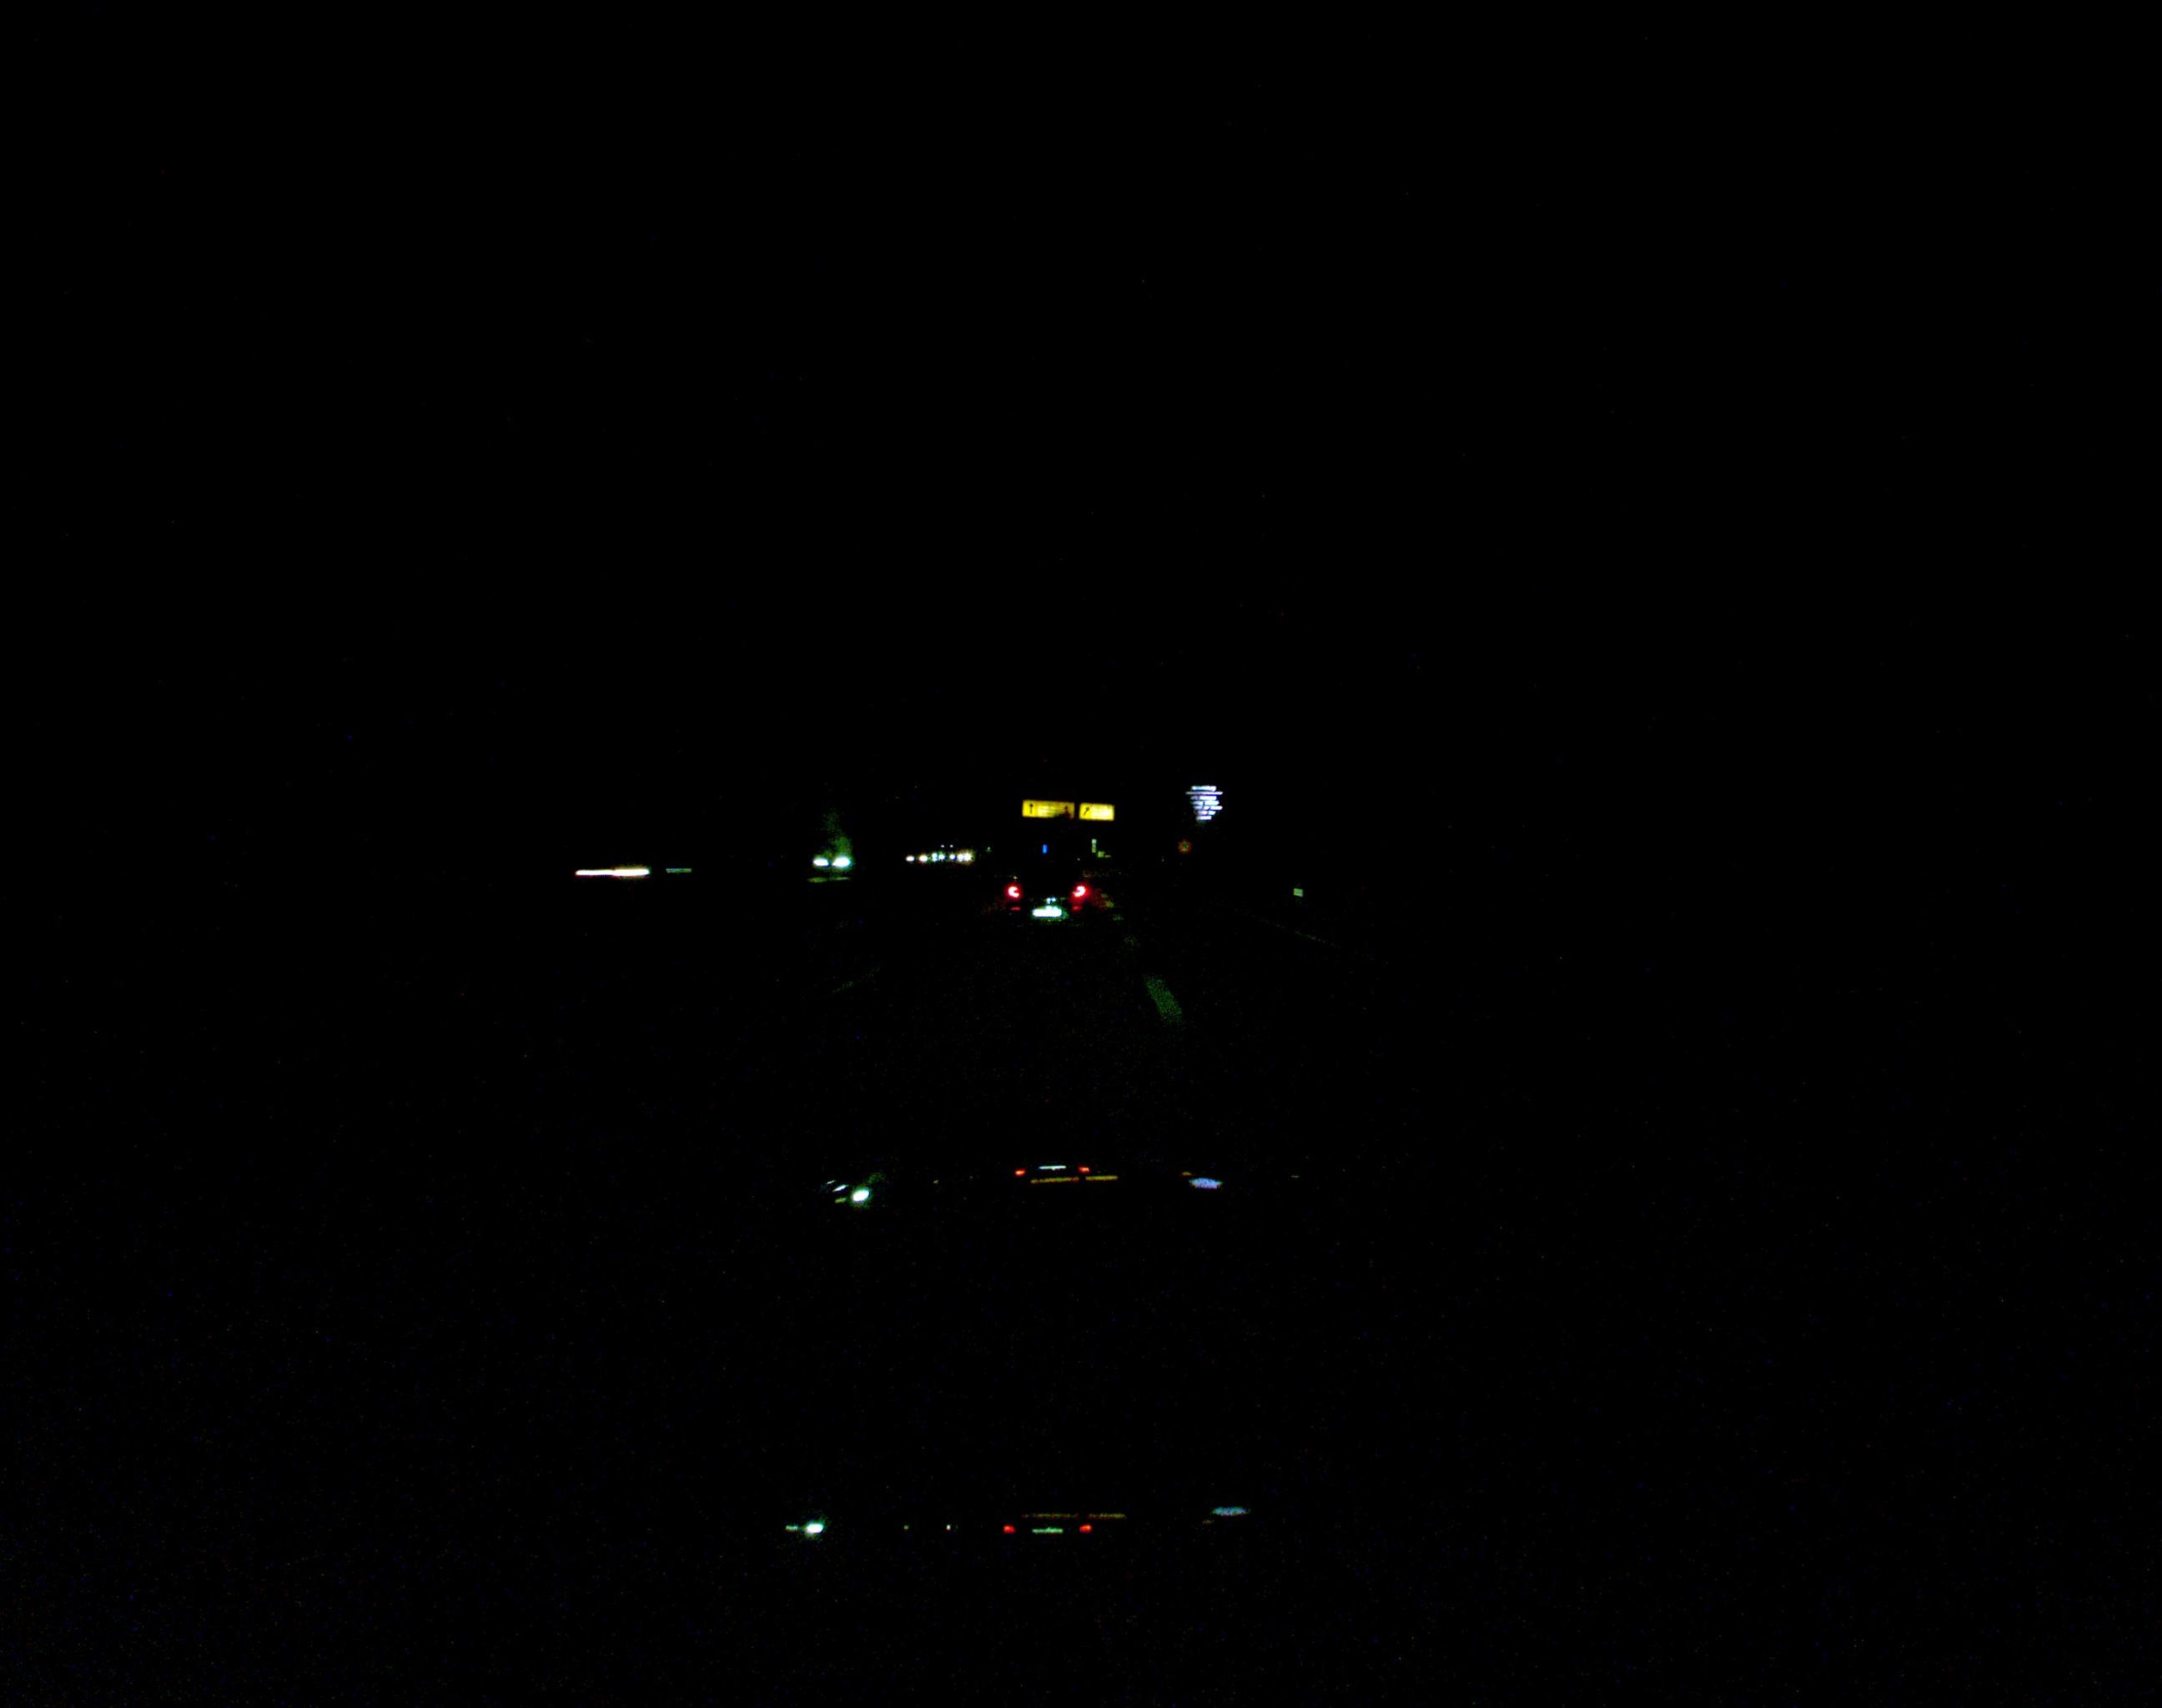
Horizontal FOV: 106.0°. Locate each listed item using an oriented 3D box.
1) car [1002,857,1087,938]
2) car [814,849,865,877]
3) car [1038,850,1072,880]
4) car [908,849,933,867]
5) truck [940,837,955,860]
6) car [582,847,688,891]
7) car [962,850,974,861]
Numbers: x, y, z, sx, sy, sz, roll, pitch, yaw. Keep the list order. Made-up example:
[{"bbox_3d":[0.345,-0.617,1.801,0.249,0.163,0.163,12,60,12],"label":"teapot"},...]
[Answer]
[{"bbox_3d":[-0.730,0.825,17.331,1.584,1.508,3.998,-1,0,-1],"label":"car"},{"bbox_3d":[-16.248,0.594,55.064,1.961,1.763,5.030,1,0,-1],"label":"car"},{"bbox_3d":[-1.557,0.652,49.828,1.900,1.698,3.999,3,0,0],"label":"car"},{"bbox_3d":[-18.893,0.418,96.116,2.357,2.013,5.024,1,0,-4],"label":"car"},{"bbox_3d":[-26.589,-1.025,162.020,2.626,4.233,8.565,4,-1,-10],"label":"truck"},{"bbox_3d":[-16.654,0.522,30.644,1.723,1.517,4.156,1,0,-1],"label":"car"},{"bbox_3d":[-23.501,0.352,169.205,1.990,2.266,3.993,4,-1,-5],"label":"car"}]
